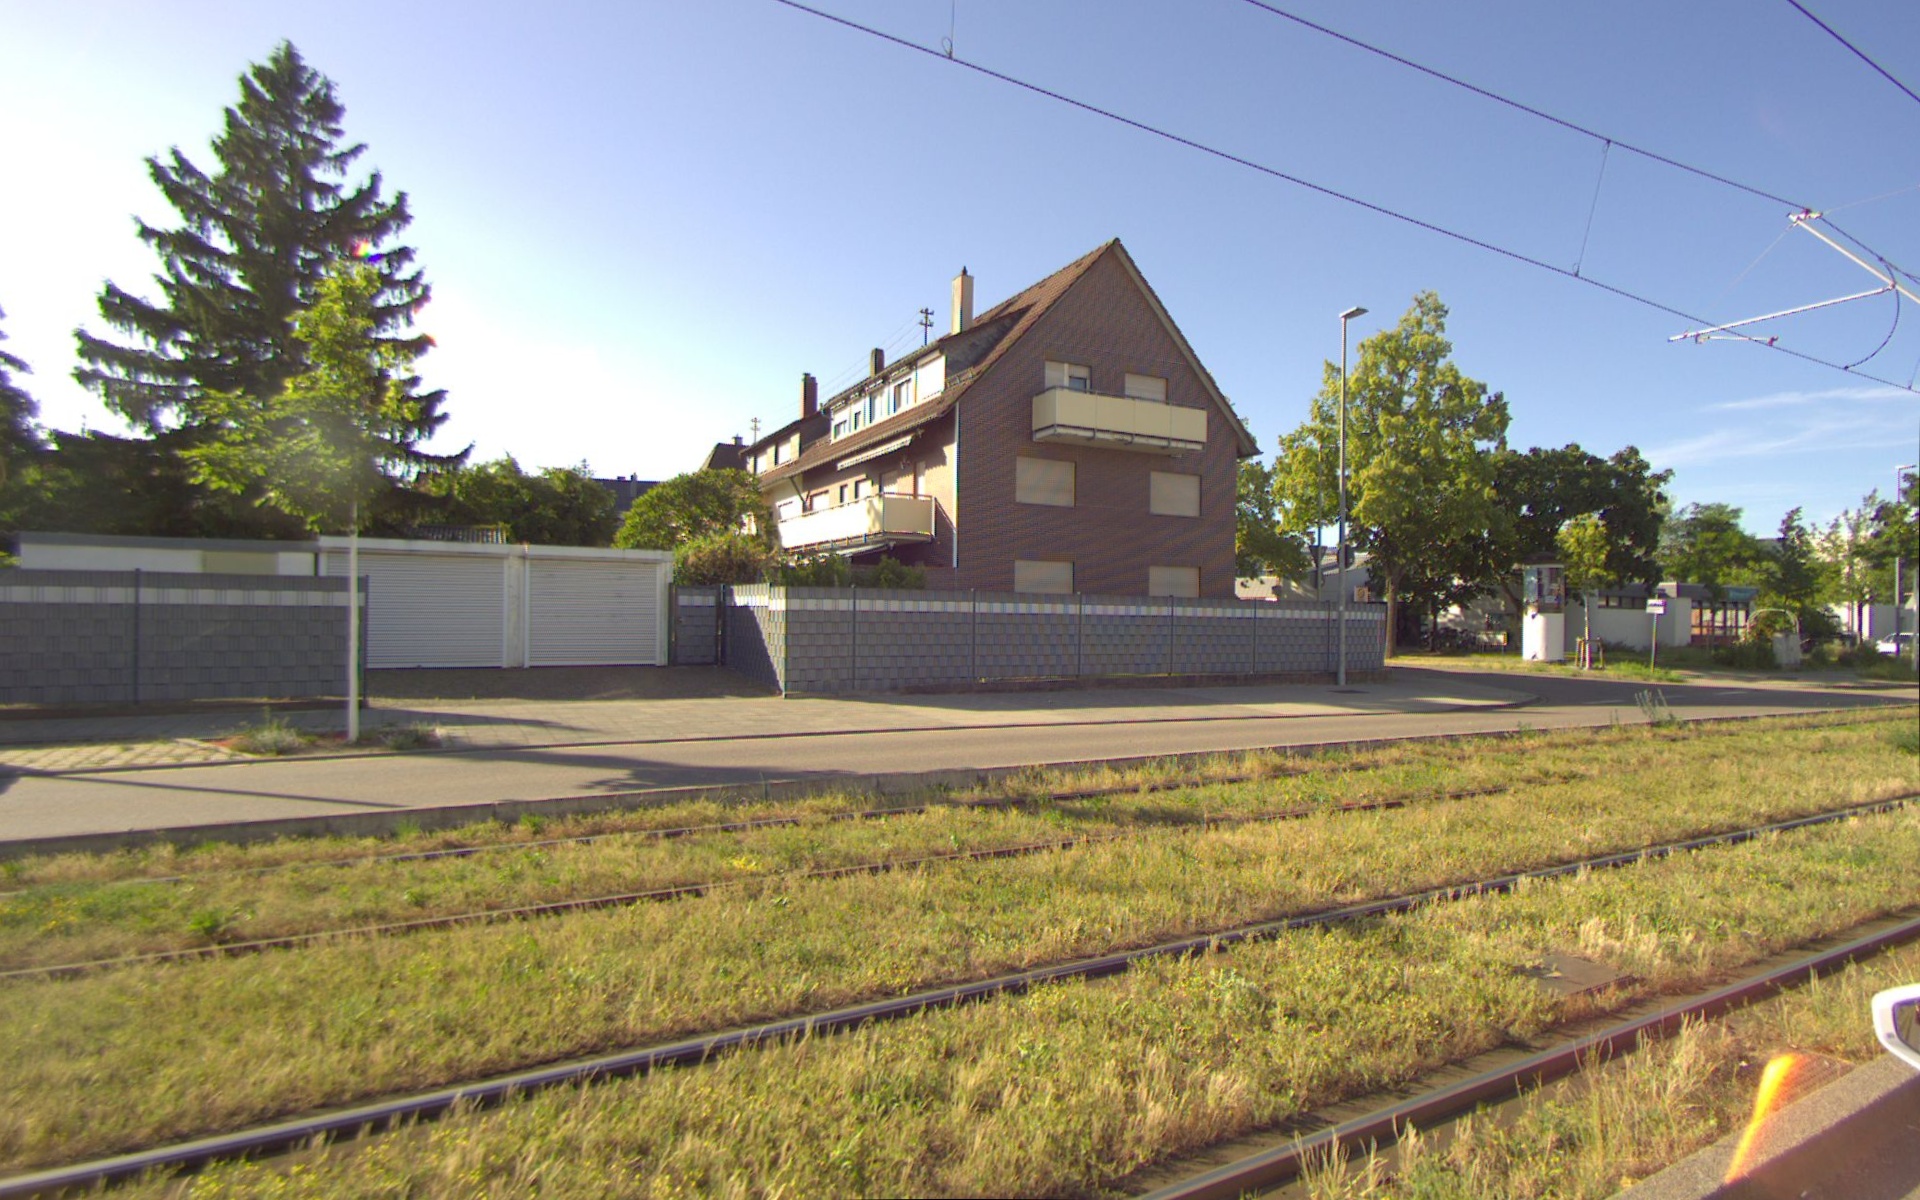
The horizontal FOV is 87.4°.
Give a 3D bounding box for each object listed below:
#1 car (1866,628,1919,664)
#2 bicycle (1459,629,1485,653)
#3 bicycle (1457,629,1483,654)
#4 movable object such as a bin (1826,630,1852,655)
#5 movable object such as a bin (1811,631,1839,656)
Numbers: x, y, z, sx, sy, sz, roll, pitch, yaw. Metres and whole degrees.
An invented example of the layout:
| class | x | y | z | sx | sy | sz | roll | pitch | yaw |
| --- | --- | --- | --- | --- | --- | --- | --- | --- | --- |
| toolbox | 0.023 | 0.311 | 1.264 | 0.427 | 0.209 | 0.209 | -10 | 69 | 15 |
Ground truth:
| class | x | y | z | sx | sy | sz | roll | pitch | yaw |
| --- | --- | --- | --- | --- | --- | --- | --- | --- | --- |
| car | 43.189 | 2.114 | 45.958 | 3.732 | 1.511 | 1.536 | 2 | 0 | -31 |
| bicycle | 23.801 | 1.907 | 46.673 | 1.025 | 1.073 | 0.303 | 0 | -1 | 44 |
| bicycle | 23.542 | 1.917 | 46.376 | 1.042 | 1.097 | 0.303 | 0 | -1 | 44 |
| movable object such as a bin | 52.410 | 2.529 | 59.881 | 1.236 | 1.453 | 0.663 | 2 | 1 | -22 |
| movable object such as a bin | 50.978 | 2.559 | 59.194 | 1.401 | 1.401 | 0.663 | 2 | 1 | -22 |
